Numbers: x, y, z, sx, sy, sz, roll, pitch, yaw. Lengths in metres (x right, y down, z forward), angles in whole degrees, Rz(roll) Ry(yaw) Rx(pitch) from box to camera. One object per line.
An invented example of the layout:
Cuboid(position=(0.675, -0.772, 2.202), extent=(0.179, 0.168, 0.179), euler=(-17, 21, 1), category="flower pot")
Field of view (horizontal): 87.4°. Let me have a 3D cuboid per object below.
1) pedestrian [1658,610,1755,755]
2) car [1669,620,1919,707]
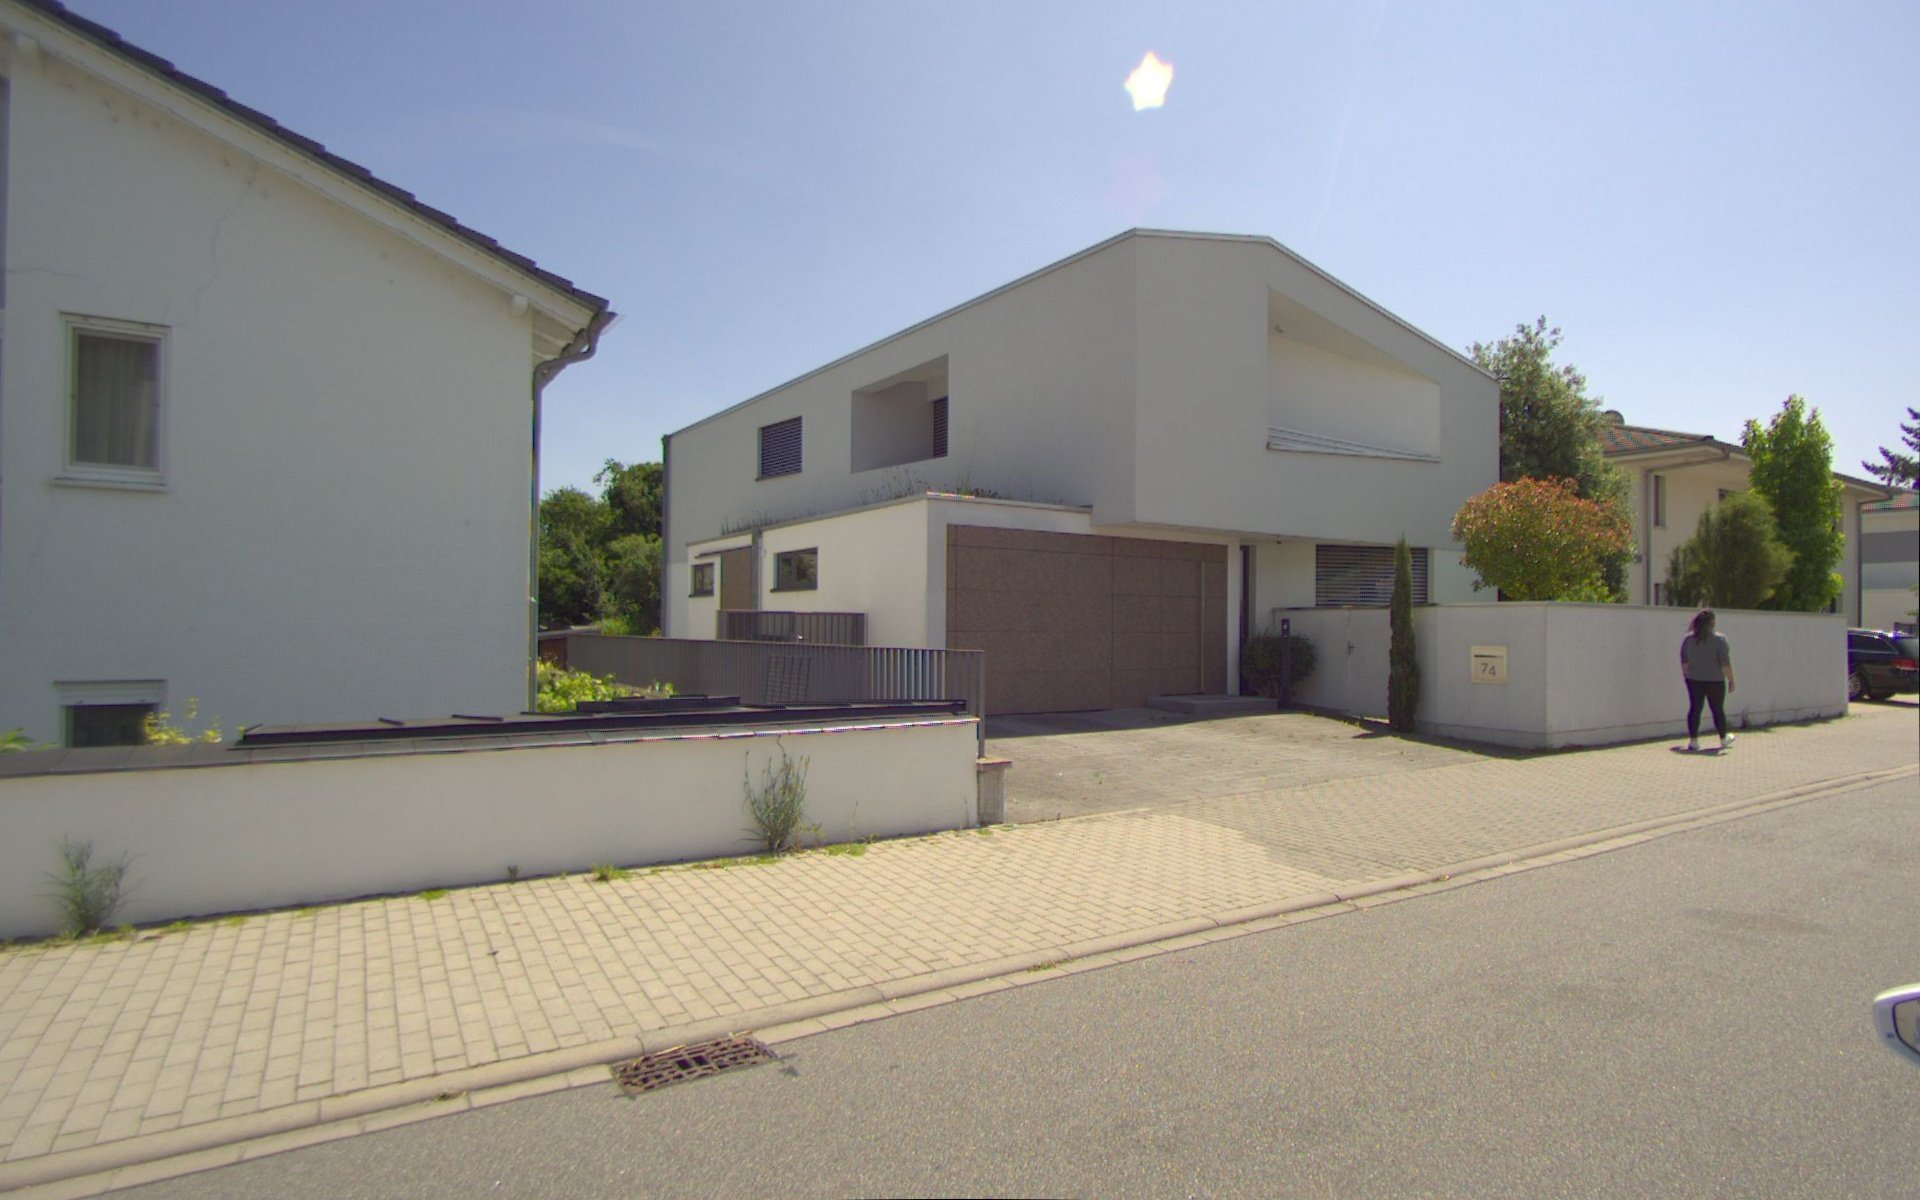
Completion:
Cuboid(position=(9.502, 1.020, 12.791), extent=(0.950, 1.770, 0.710), euler=(1, -1, -32), category="pedestrian")
Cuboid(position=(18.839, 1.328, 22.537), extent=(1.828, 1.493, 4.410), euler=(2, 2, -28), category="car")
